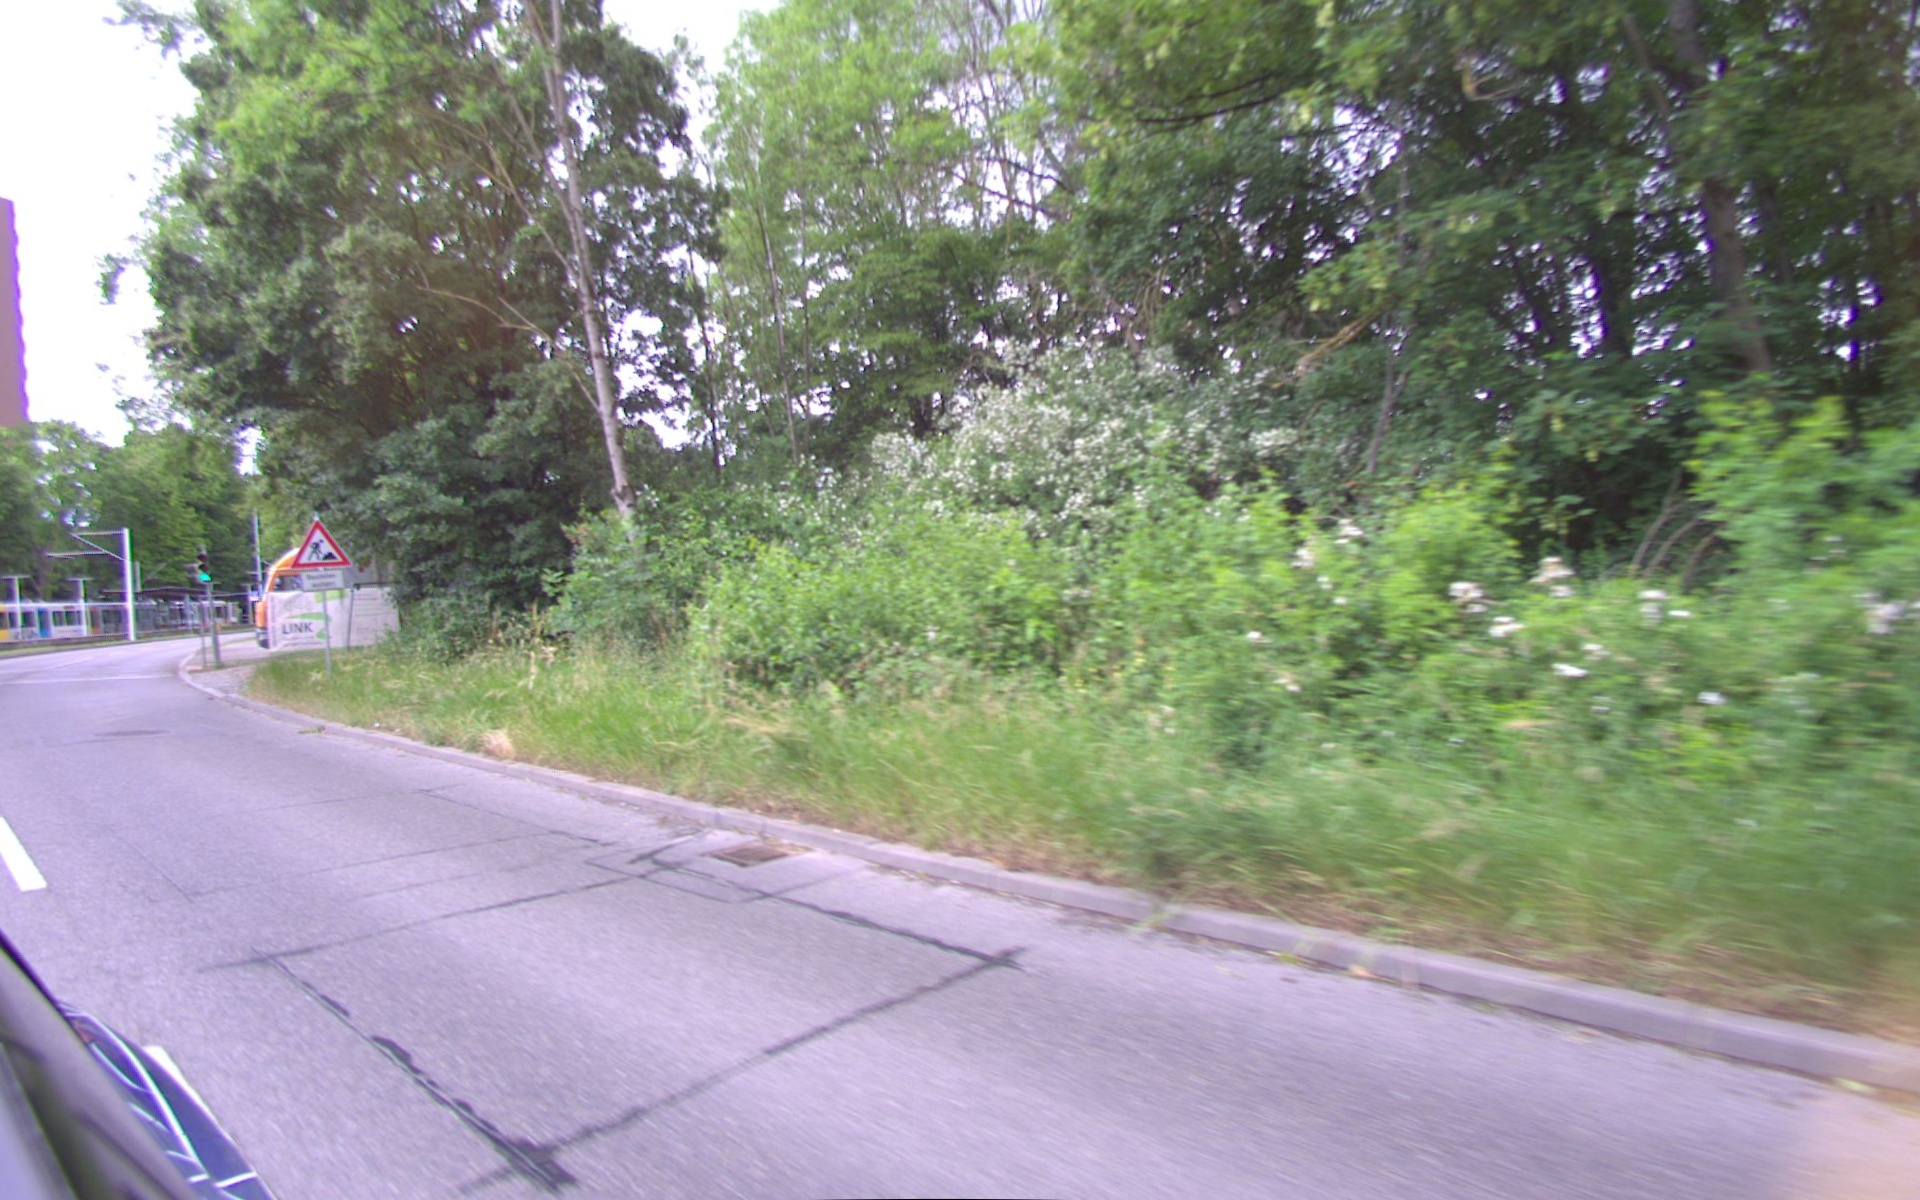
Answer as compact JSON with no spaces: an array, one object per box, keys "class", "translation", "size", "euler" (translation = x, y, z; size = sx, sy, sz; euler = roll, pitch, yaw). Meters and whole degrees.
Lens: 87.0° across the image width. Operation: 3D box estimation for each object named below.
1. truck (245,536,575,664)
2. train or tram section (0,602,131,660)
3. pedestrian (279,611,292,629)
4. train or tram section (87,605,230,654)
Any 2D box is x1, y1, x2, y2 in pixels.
[{"class":"truck","translation":[-17.854,-0.161,33.385],"size":[9.112,3.557,2.571],"euler":[-4,2,-37]},{"class":"train or tram section","translation":[-67.172,2.235,74.175],"size":[2.775,3.826,18.991],"euler":[-5,1,-18]},{"class":"pedestrian","translation":[-72.418,2.137,108.647],"size":[0.970,1.771,0.732],"euler":[-5,0,-24]},{"class":"train or tram section","translation":[-72.410,2.452,92.288],"size":[2.776,3.764,18.583],"euler":[-5,1,-15]}]
